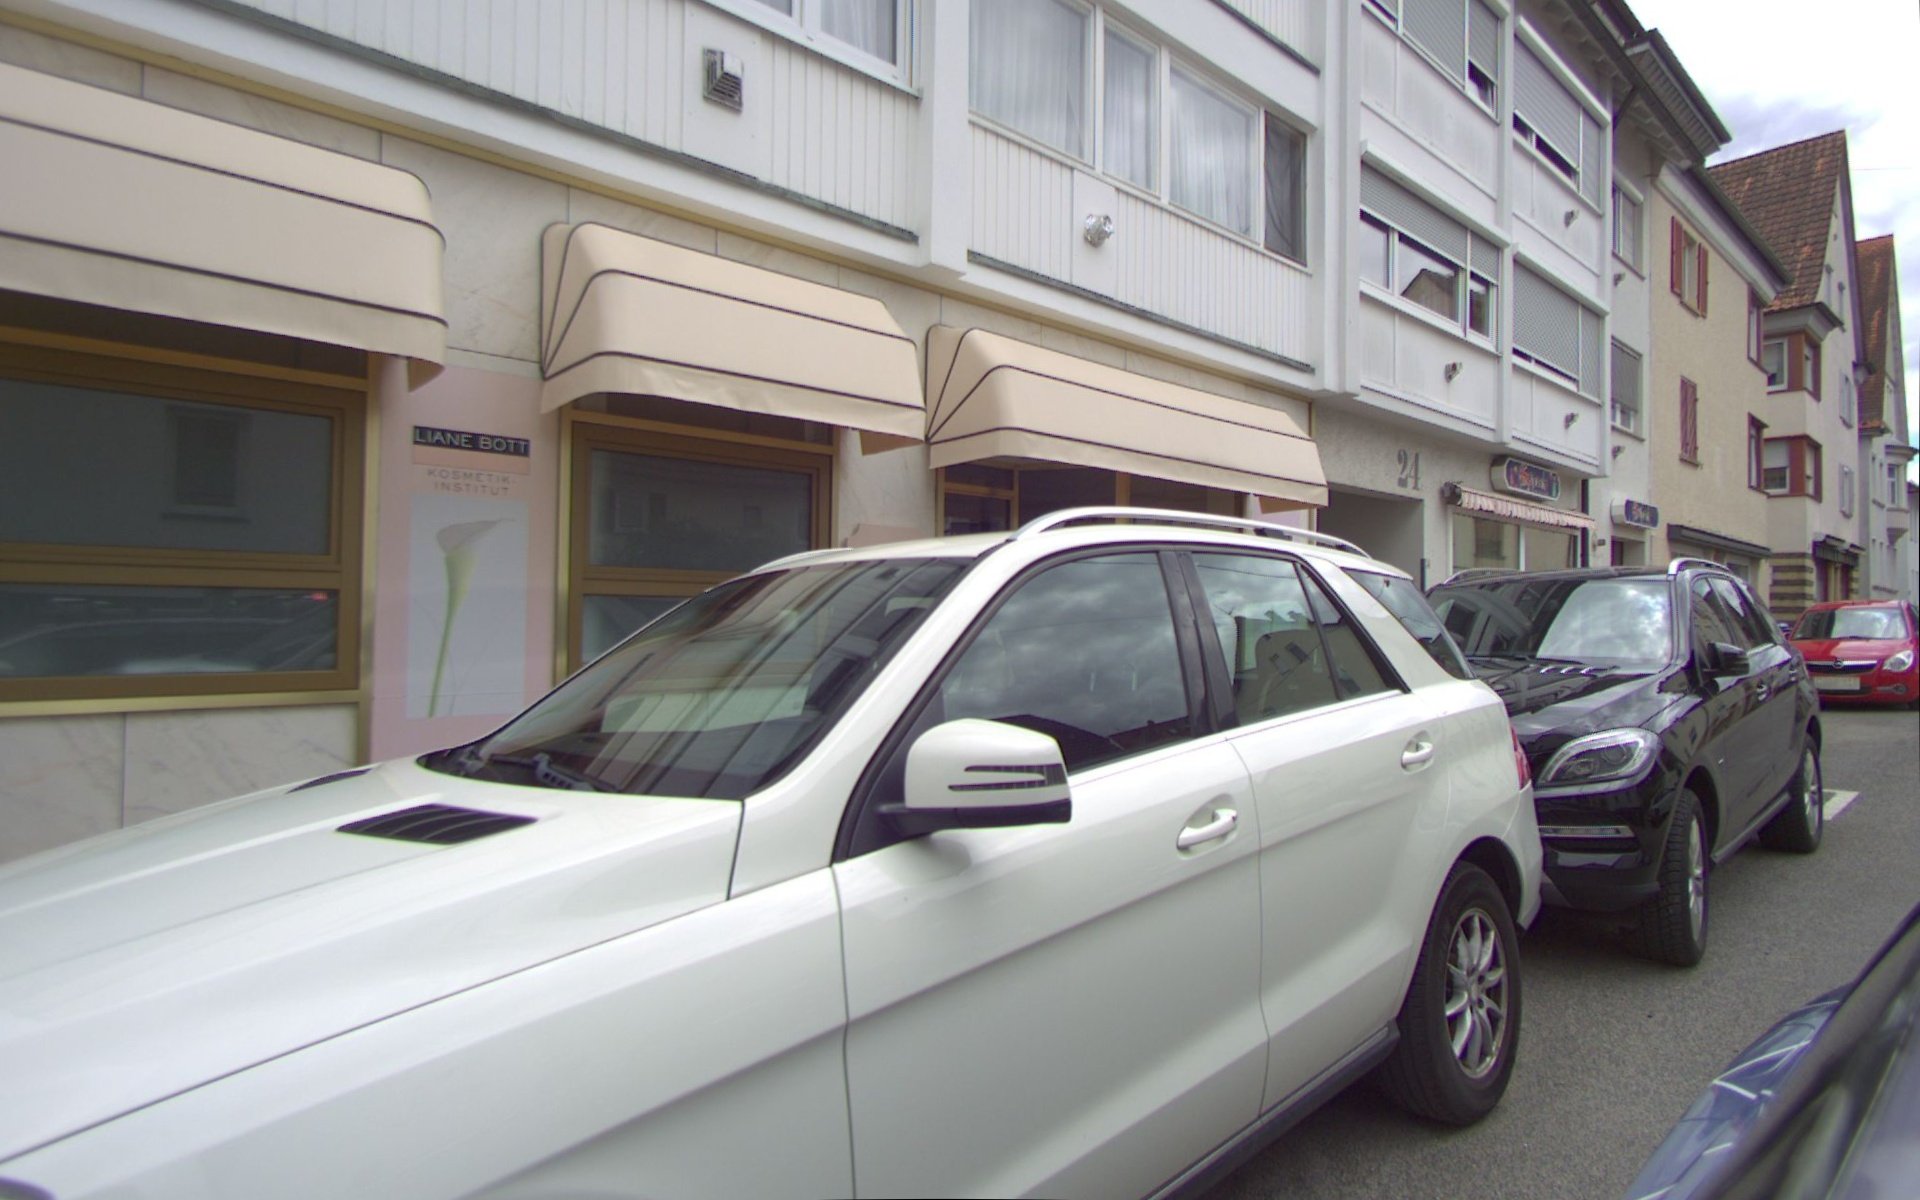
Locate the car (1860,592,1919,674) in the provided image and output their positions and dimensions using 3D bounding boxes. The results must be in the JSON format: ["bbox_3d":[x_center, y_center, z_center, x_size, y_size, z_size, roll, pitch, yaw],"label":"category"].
[{"bbox_3d":[19.579,0.610,20.419,3.920,1.548,1.604,-1,-3,-42],"label":"car"}]

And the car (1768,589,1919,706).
[{"bbox_3d":[13.724,0.643,15.229,3.919,1.548,1.672,-1,-3,-41],"label":"car"}]

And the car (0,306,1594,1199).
[{"bbox_3d":[-0.124,0.611,2.691,4.417,1.727,1.898,-1,0,-42],"label":"car"}]

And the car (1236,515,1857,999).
[{"bbox_3d":[3.655,0.573,5.941,4.269,1.812,1.898,-1,0,-42],"label":"car"}]
